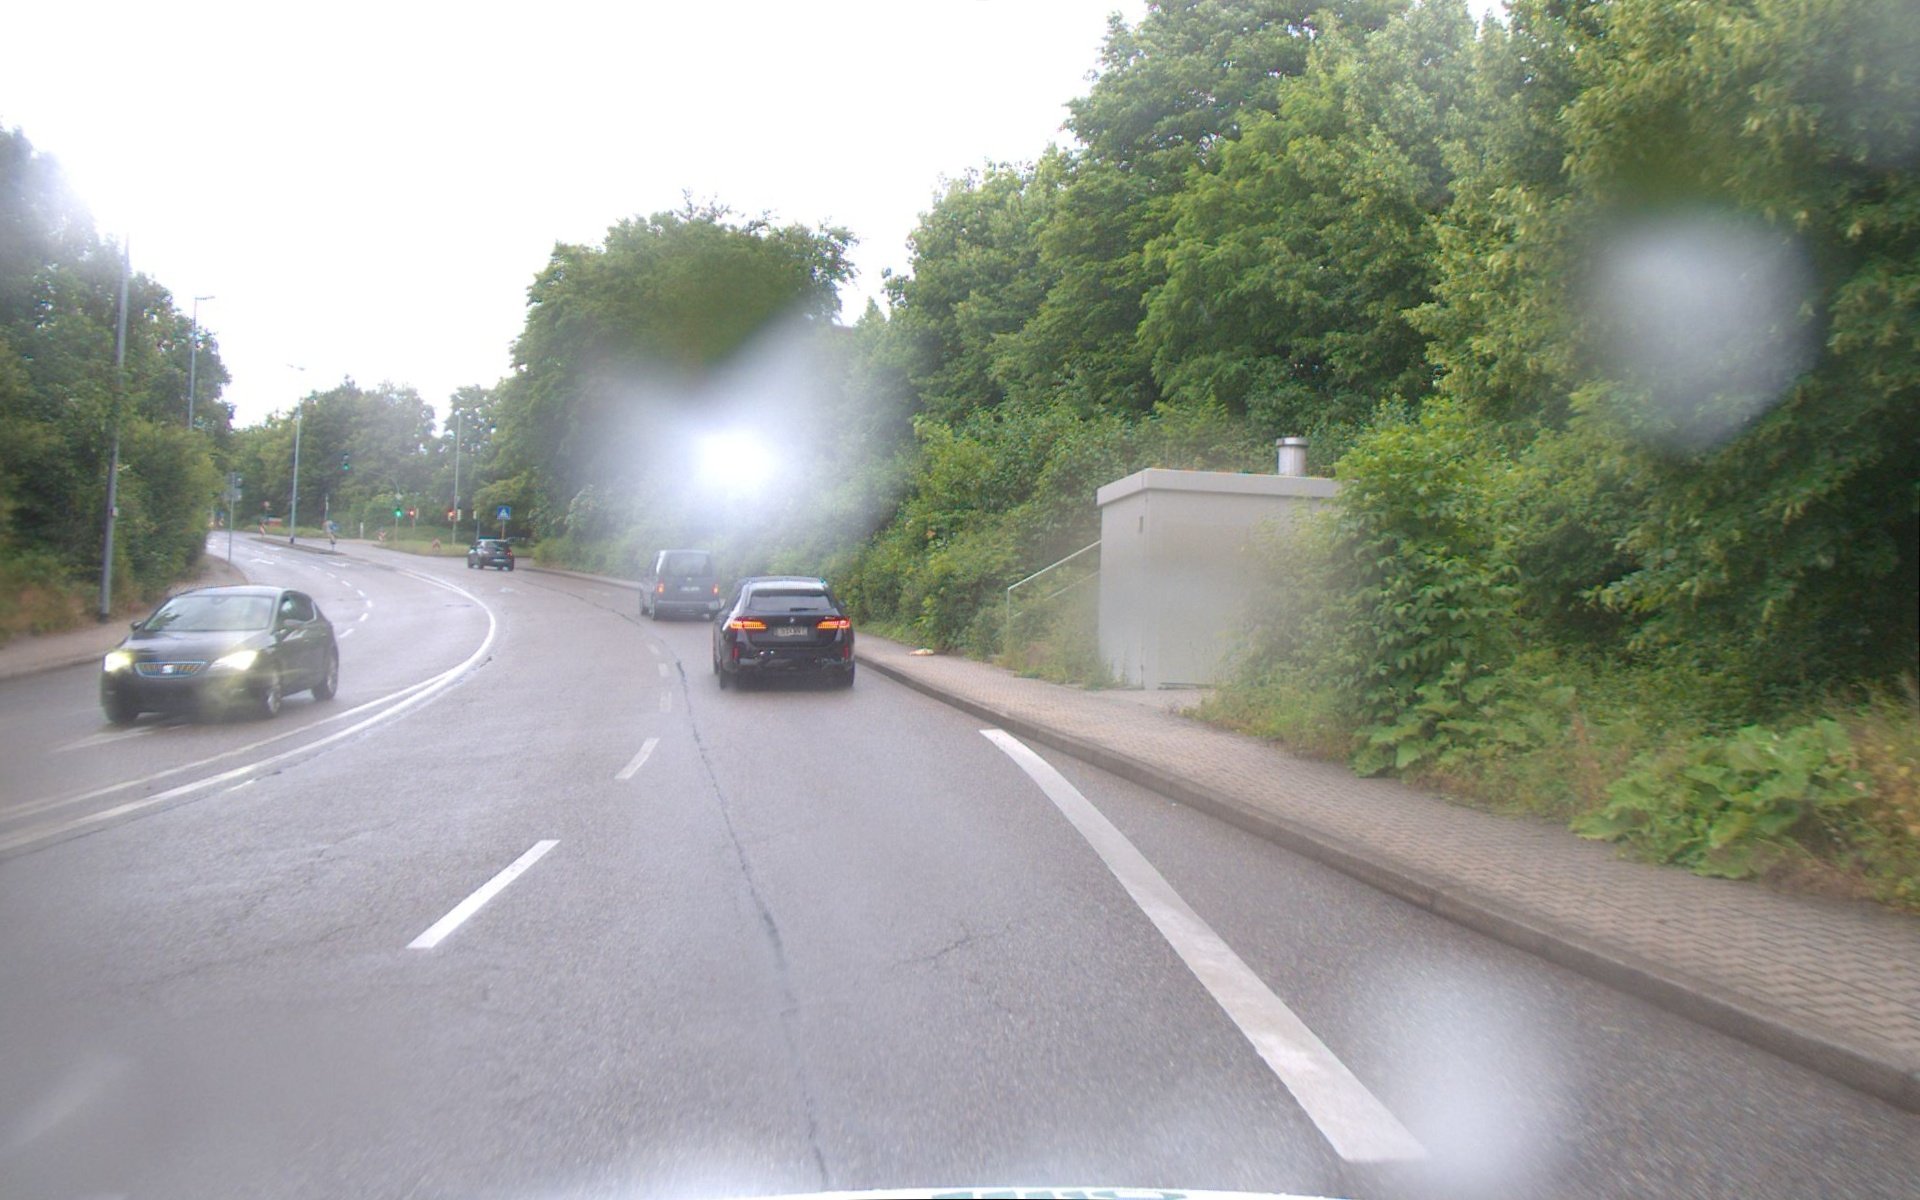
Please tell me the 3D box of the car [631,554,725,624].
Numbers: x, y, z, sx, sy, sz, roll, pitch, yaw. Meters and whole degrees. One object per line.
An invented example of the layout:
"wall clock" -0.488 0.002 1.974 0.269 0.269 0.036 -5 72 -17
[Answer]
"car" -7.608 -0.319 44.319 1.962 1.779 3.980 0 1 -18

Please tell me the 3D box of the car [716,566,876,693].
"car" -2.476 0.374 23.898 1.957 1.614 4.652 1 0 -10

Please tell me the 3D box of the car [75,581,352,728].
"car" -8.561 0.568 19.382 1.857 1.513 4.225 0 0 -9

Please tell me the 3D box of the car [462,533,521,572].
"car" -23.137 -2.319 81.573 1.832 1.691 3.959 2 -1 -30
